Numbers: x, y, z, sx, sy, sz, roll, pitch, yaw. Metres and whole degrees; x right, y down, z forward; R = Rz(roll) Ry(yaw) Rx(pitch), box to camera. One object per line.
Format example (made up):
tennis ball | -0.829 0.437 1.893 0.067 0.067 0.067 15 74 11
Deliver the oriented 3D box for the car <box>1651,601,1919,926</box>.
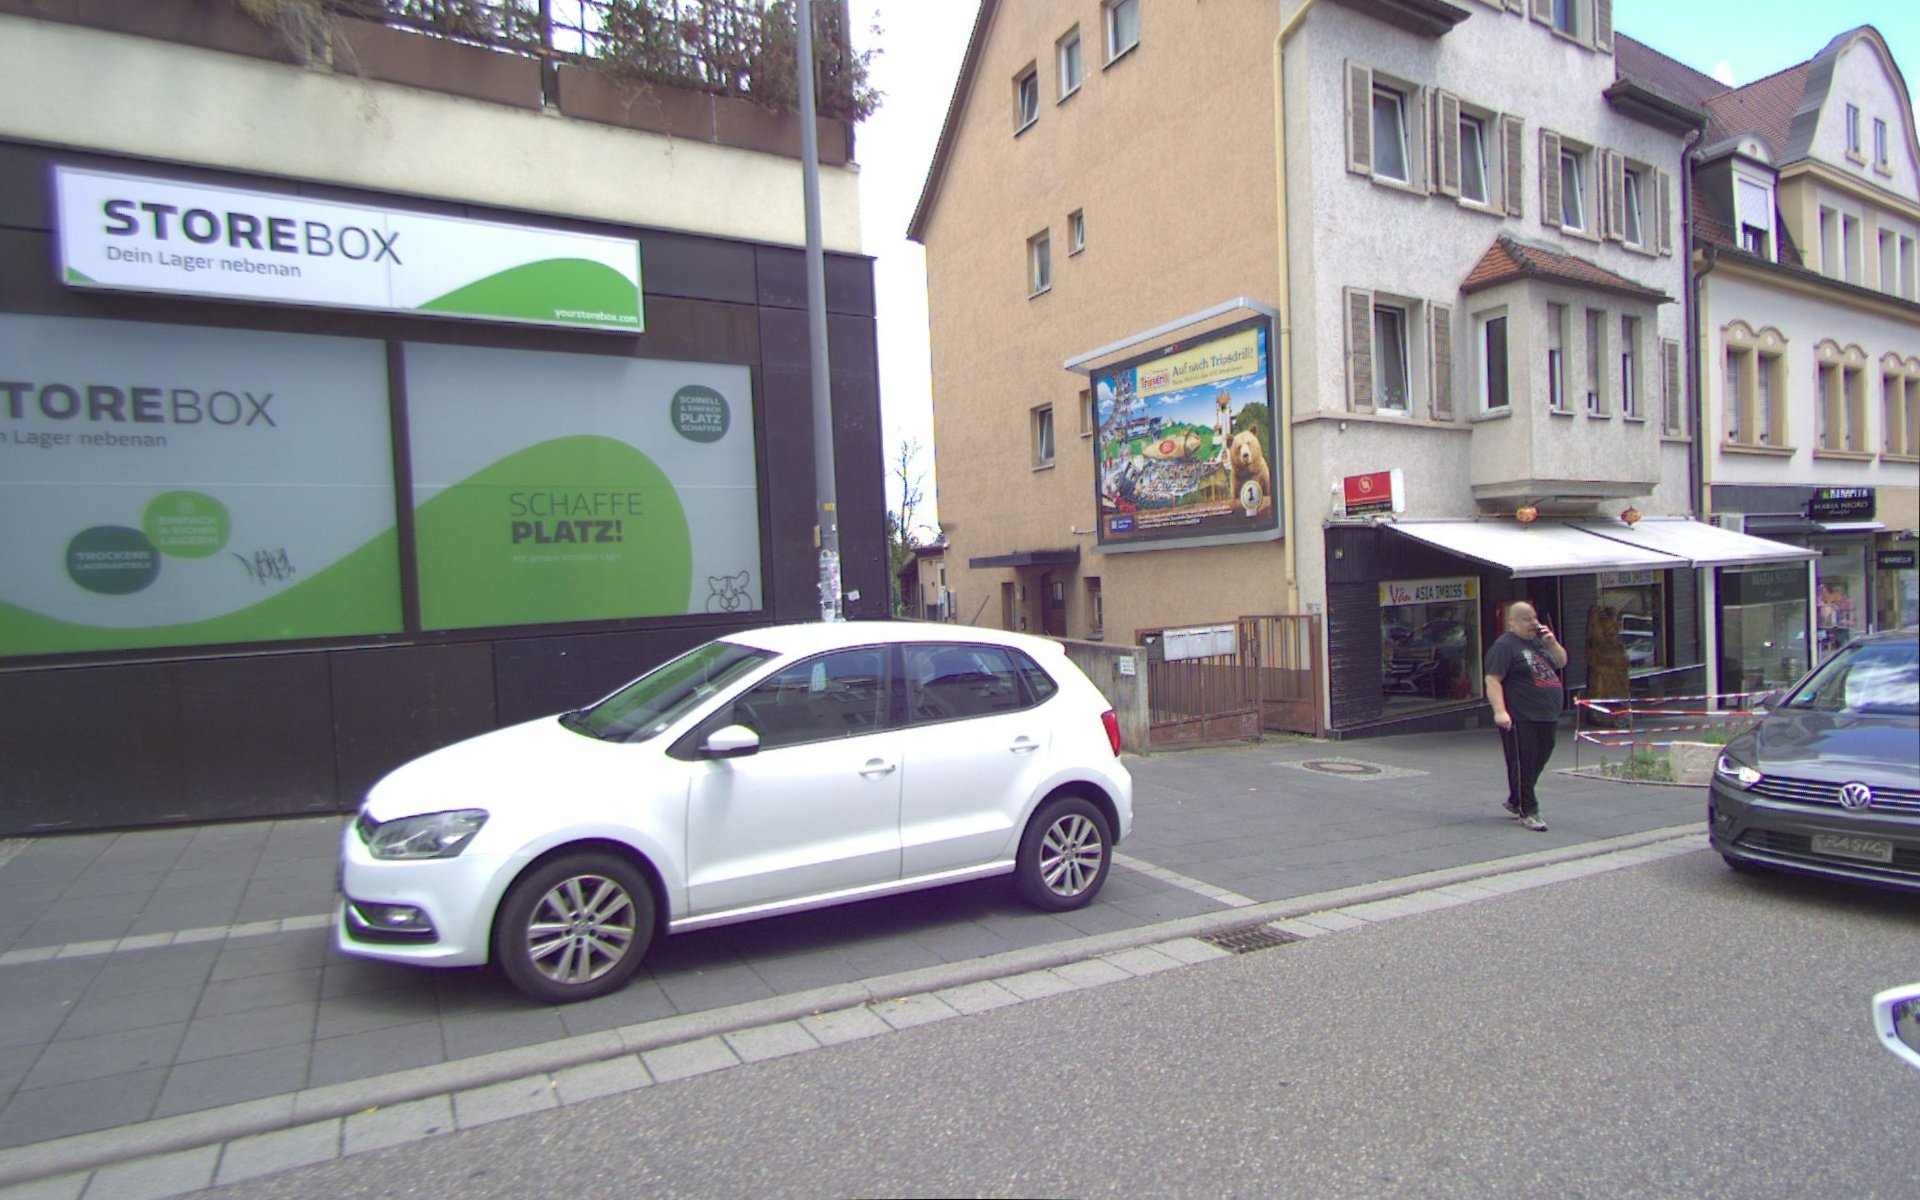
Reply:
car | 6.452 0.880 6.395 4.088 1.639 1.810 1 -3 -31

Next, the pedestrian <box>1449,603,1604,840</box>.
pedestrian | 4.352 0.877 7.728 0.854 1.694 0.733 0 0 -33

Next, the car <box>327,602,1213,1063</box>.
car | -0.864 0.804 5.369 4.214 1.532 1.916 0 1 -32

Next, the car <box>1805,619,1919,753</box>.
car | 13.876 1.128 13.968 4.588 1.643 1.916 1 0 -32
